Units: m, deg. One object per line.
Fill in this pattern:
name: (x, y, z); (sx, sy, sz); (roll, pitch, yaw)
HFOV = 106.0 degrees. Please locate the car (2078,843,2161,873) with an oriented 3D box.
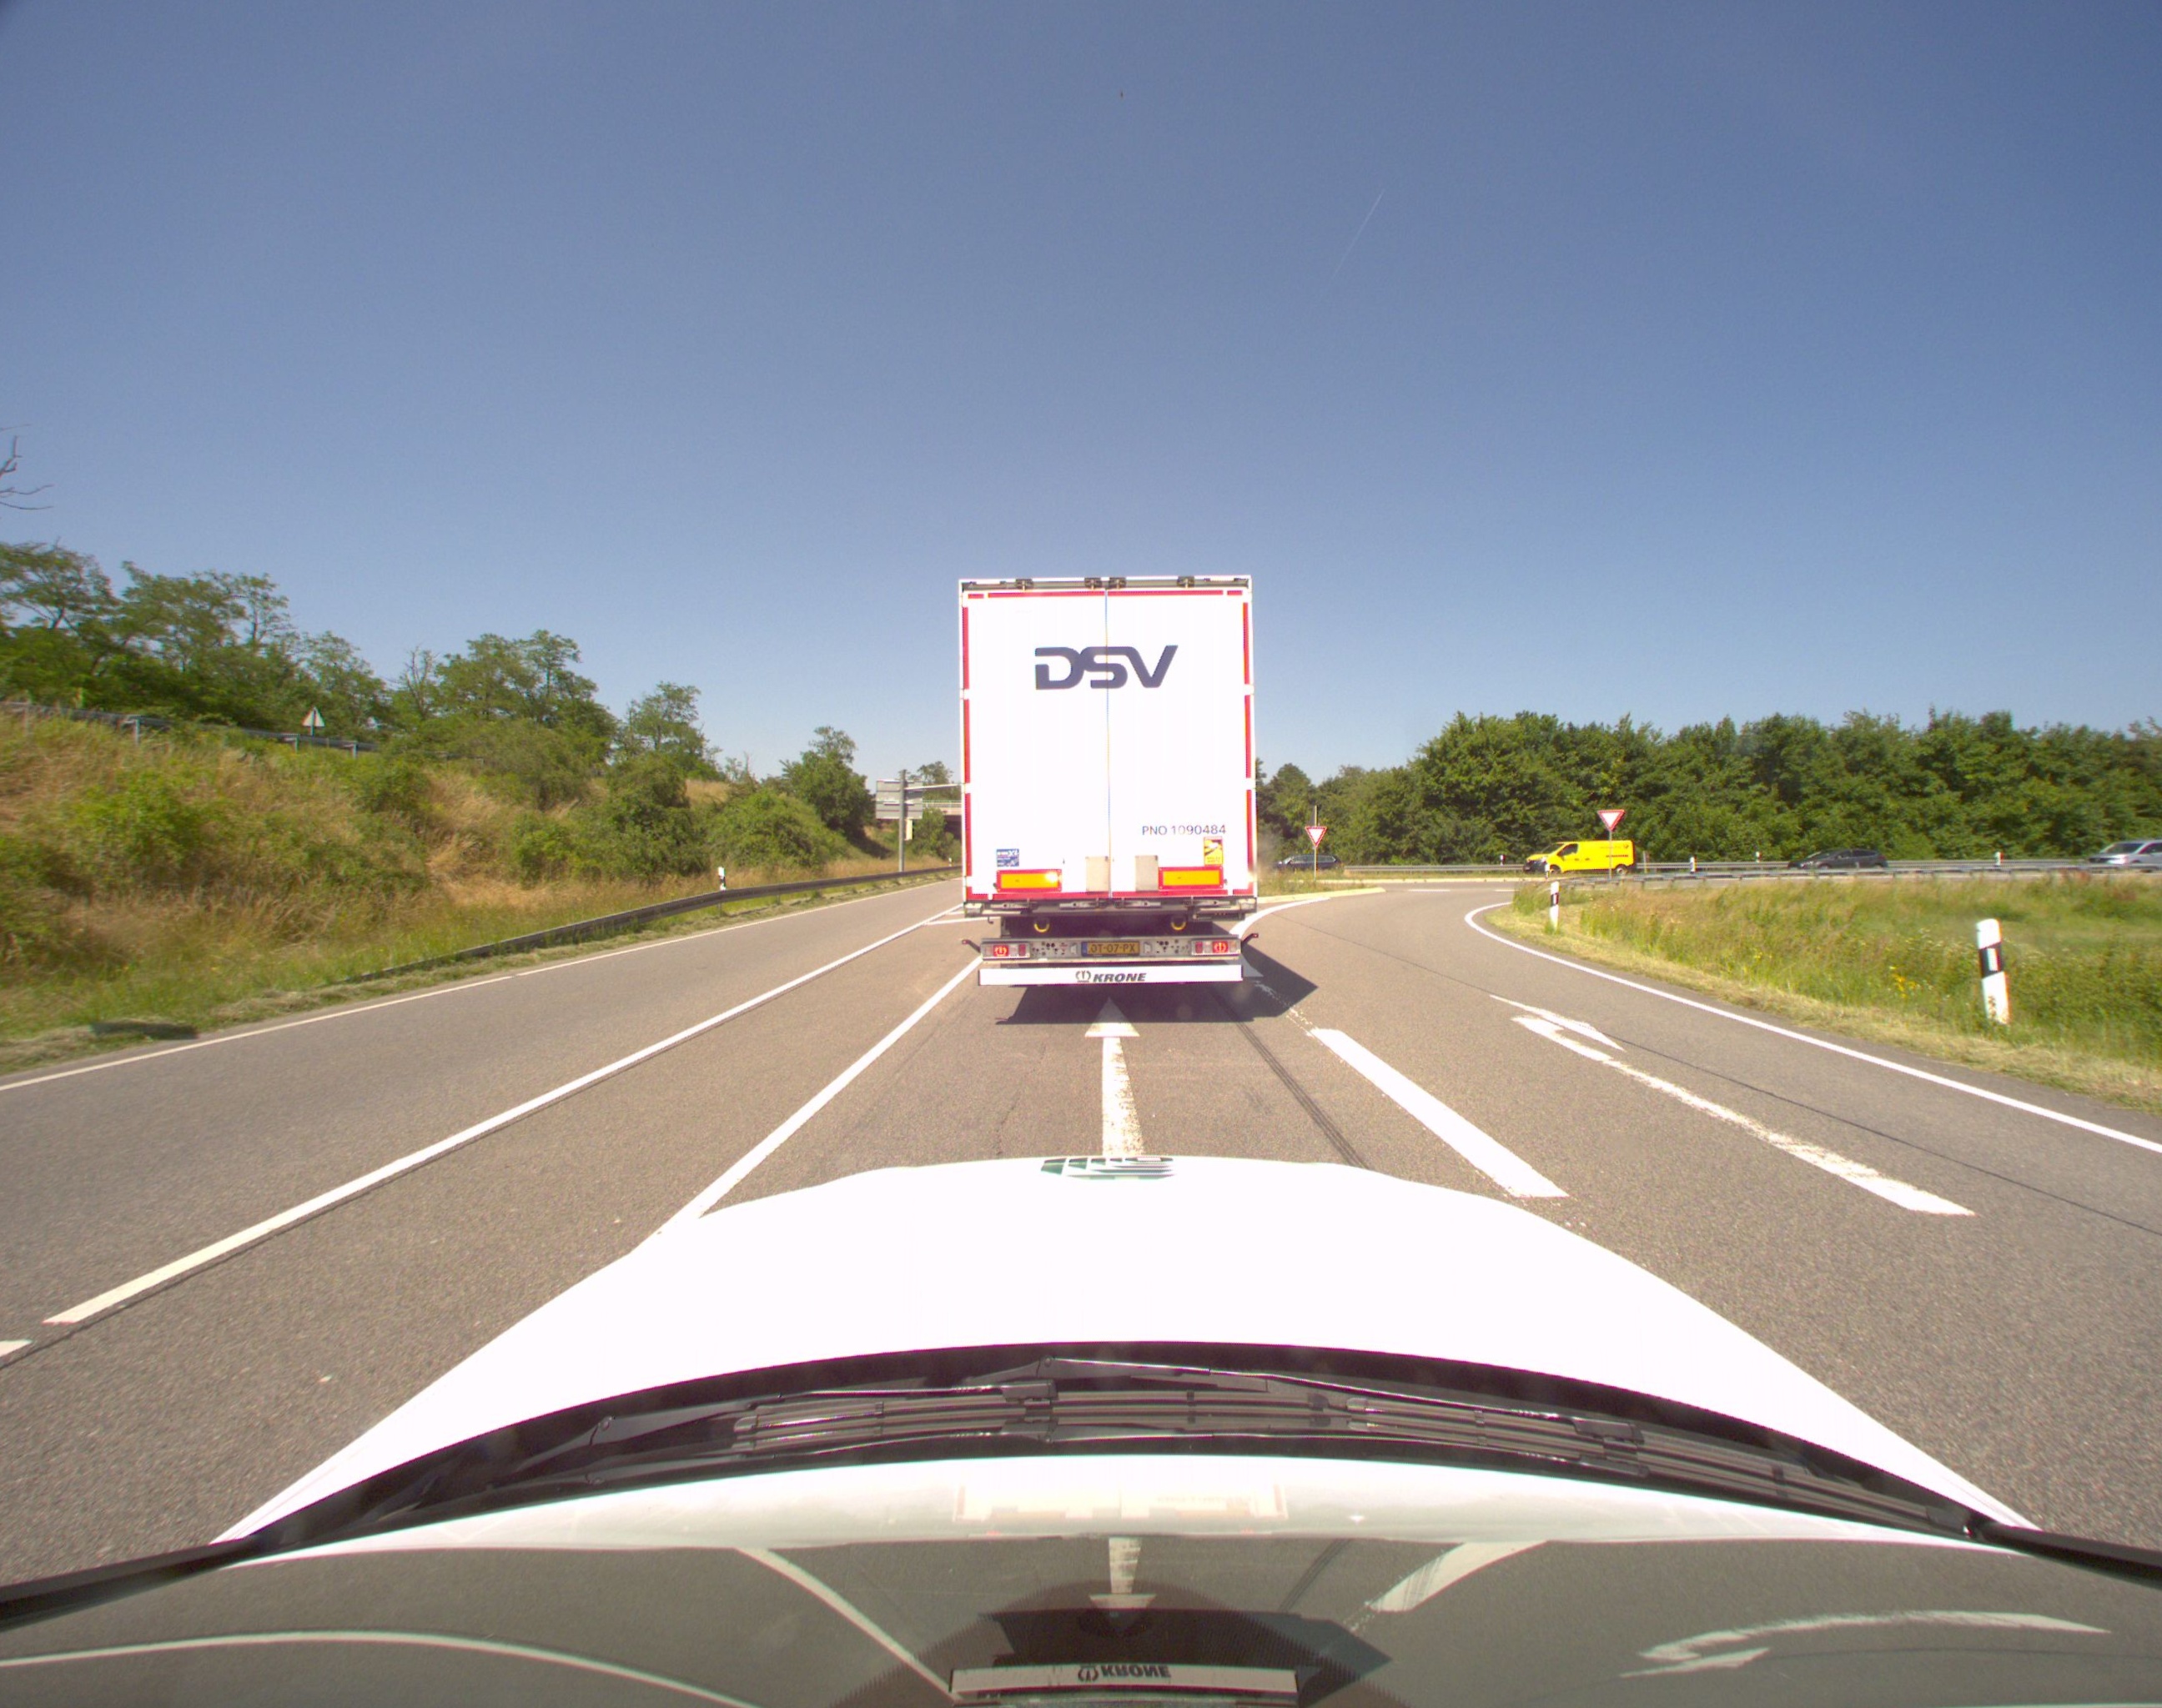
car: (56.061, 0.211, 43.017); (4.669, 1.514, 1.852); (-1, -1, -1)

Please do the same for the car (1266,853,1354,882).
car: (12.781, 0.758, 45.717); (4.650, 1.514, 1.860); (-1, -1, 13)

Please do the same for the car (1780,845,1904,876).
car: (40.124, 0.347, 43.025); (4.662, 1.514, 1.855); (-1, -1, 3)

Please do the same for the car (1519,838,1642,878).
car: (26.523, 0.223, 43.376); (5.299, 2.014, 2.002); (-1, -1, 3)

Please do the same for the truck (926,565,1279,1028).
truck: (0.294, -0.476, 11.915); (2.977, 3.942, 9.877); (-1, 0, 1)

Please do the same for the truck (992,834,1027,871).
truck: (-7.254, -0.123, 83.790); (2.634, 3.538, 7.893); (-1, -1, 2)
